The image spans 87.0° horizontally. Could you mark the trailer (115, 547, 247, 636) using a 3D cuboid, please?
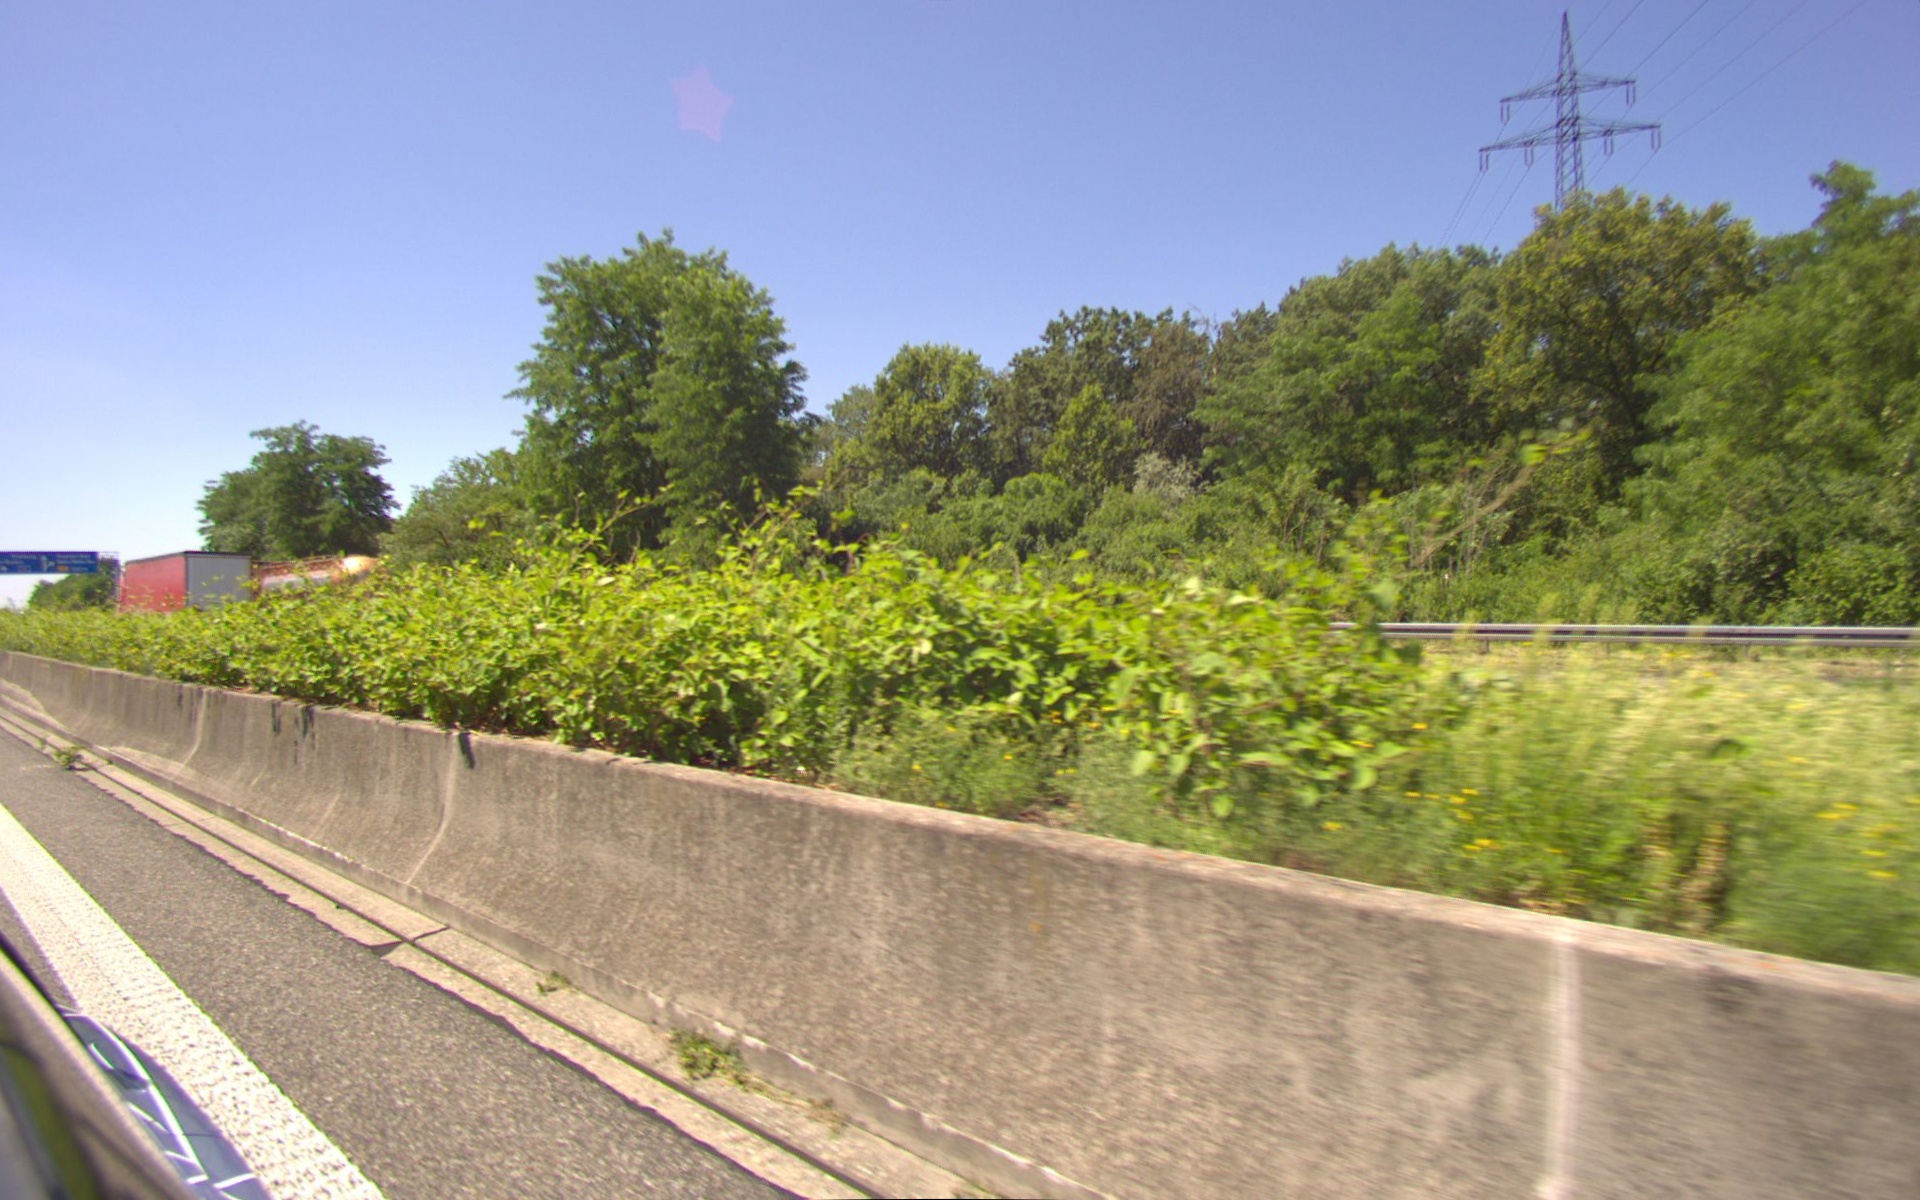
[{"bbox_3d":[-39.205,-0.290,50.592,14.392,3.965,2.440,-1,-1,41],"label":"trailer"}]

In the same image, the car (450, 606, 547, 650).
[{"bbox_3d":[-16.749,1.003,36.662,3.998,1.490,1.703,-1,0,41],"label":"car"}]

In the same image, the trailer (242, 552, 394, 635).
[{"bbox_3d":[-31.630,-0.189,49.441,14.213,3.623,2.347,-1,0,41],"label":"trailer"}]

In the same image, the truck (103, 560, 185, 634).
[{"bbox_3d":[-44.600,-0.135,55.254,5.725,3.817,2.440,-1,0,40],"label":"truck"}]

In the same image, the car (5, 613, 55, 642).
[{"bbox_3d":[-54.402,1.596,59.196,3.997,1.613,1.678,-1,0,40],"label":"car"}]

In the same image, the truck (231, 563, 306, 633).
[{"bbox_3d":[-37.035,-0.086,54.178,4.161,3.629,2.332,-1,0,41],"label":"truck"}]
